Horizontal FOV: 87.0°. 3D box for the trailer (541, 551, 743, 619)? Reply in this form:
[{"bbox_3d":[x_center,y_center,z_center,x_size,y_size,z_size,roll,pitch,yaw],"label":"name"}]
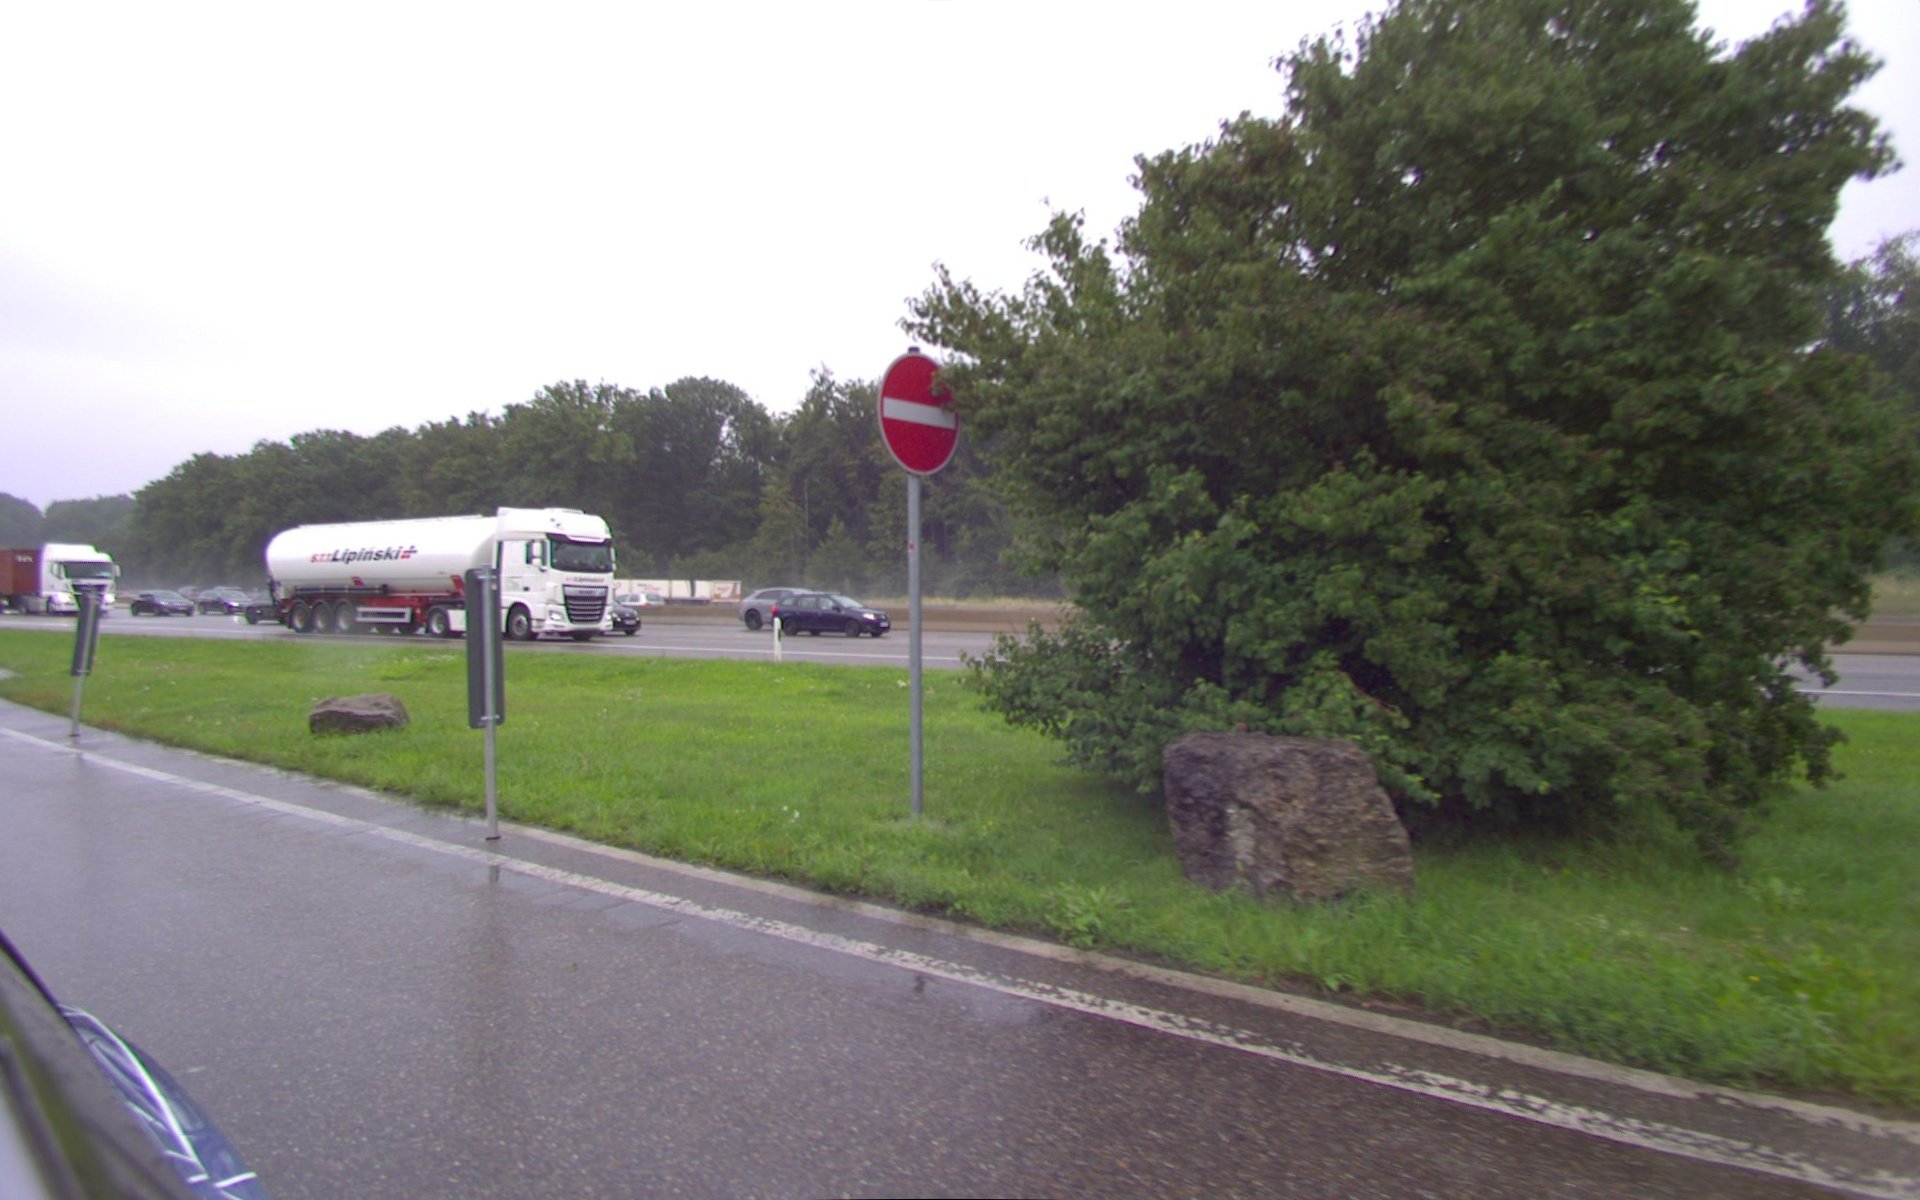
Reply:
[{"bbox_3d":[-20.382,-0.883,64.236,14.603,3.707,2.600,-1,3,28],"label":"trailer"}]

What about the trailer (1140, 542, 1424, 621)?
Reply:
[{"bbox_3d":[15.448,-0.900,49.449,13.069,3.522,2.177,0,4,28],"label":"trailer"}]

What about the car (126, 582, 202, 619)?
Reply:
[{"bbox_3d":[-45.363,0.000,57.658,4.095,2.029,1.980,0,1,29],"label":"car"}]

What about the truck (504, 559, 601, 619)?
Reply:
[{"bbox_3d":[-27.388,-0.714,67.993,5.964,3.696,2.607,-1,3,28],"label":"truck"}]

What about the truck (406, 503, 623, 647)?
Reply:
[{"bbox_3d":[-13.779,-0.713,31.207,6.479,4.038,2.732,0,1,29],"label":"truck"}]

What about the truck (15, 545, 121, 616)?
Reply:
[{"bbox_3d":[-49.233,-1.104,55.855,5.304,3.683,2.672,1,4,30],"label":"truck"}]

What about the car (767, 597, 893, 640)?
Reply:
[{"bbox_3d":[-4.550,0.620,35.229,4.106,1.425,1.806,0,0,29],"label":"car"}]

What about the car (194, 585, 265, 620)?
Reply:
[{"bbox_3d":[-43.966,0.129,60.916,3.983,2.029,1.980,0,1,29],"label":"car"}]

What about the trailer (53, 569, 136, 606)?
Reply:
[{"bbox_3d":[-97.214,-1.356,113.546,13.361,3.840,3.006,0,2,31],"label":"trailer"}]

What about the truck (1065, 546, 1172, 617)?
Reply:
[{"bbox_3d":[8.331,-0.972,53.182,5.143,3.535,2.178,0,4,27],"label":"truck"}]

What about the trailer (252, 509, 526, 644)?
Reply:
[{"bbox_3d":[-19.638,-0.724,34.473,10.993,4.056,2.744,0,1,29],"label":"trailer"}]

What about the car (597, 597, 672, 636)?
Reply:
[{"bbox_3d":[-17.769,0.914,55.229,3.636,1.750,1.667,-4,3,28],"label":"car"}]

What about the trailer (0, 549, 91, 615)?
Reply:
[{"bbox_3d":[-56.667,-1.089,60.174,15.066,3.530,2.666,1,4,30],"label":"trailer"}]

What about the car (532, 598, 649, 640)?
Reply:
[{"bbox_3d":[-12.988,0.618,35.515,3.987,1.383,1.804,0,0,32],"label":"car"}]

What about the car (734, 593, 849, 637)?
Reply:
[{"bbox_3d":[-6.801,0.564,40.736,4.385,1.681,1.806,0,-1,29],"label":"car"}]
